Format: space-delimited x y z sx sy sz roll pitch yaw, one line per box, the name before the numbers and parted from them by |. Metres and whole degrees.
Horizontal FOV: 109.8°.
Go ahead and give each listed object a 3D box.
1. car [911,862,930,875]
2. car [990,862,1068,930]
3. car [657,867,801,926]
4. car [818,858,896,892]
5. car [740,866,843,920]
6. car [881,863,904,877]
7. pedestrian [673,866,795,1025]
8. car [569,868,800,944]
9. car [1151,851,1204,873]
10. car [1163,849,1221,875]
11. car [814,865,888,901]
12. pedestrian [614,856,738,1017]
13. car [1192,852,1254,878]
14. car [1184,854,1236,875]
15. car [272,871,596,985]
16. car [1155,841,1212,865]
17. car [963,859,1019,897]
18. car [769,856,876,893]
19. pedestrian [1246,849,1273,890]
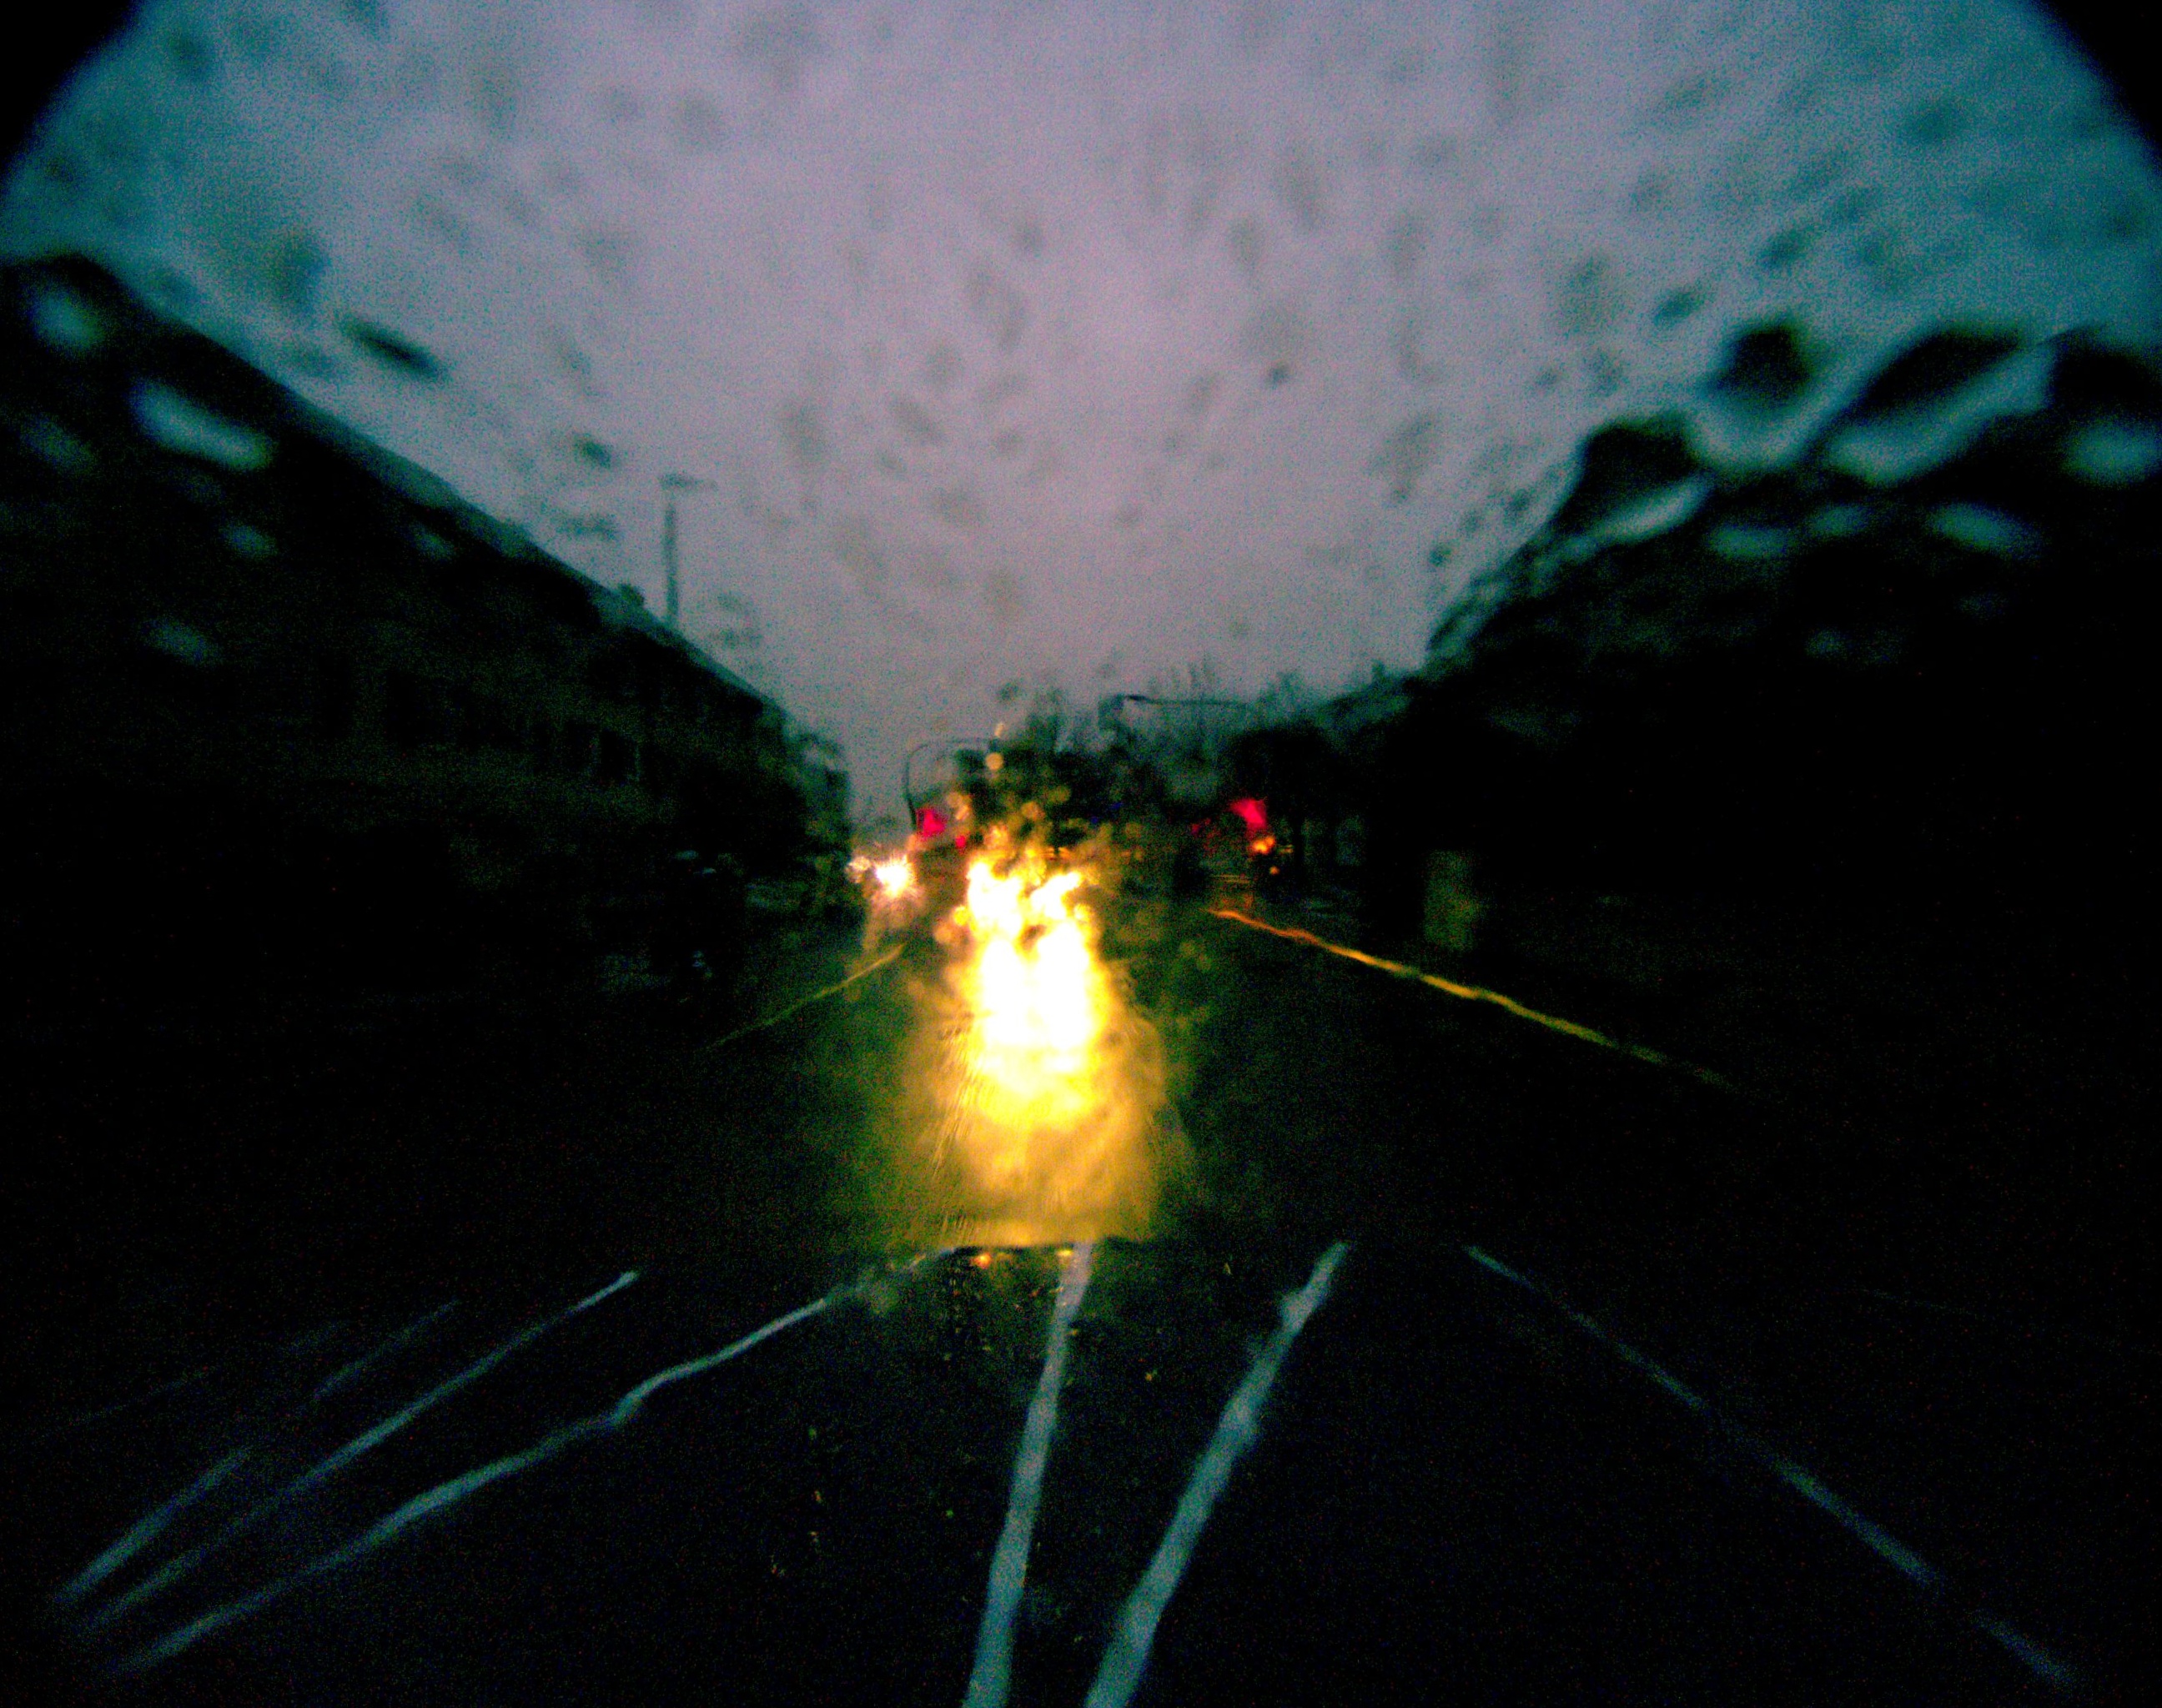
car | -20.755 1.879 98.166 1.902 1.607 3.821 -3 0 -19
car | -1.309 1.006 19.700 1.732 1.475 3.603 -3 0 -3
car | -9.209 1.083 20.047 3.073 1.465 1.549 0 0 -4
car | -12.528 1.163 42.696 4.056 1.832 1.862 0 0 -12
car | -8.657 1.131 22.853 2.591 1.538 1.550 0 -1 -7
car | -21.474 1.824 86.448 1.904 1.457 3.993 -3 0 -21
pedestrian | -3.858 0.977 8.536 0.869 1.657 0.992 1 0 1
car | -8.185 1.038 15.986 3.911 1.465 1.750 0 0 -4
car | 7.690 0.659 60.499 3.992 1.622 1.636 -2 0 16
car | 7.627 0.551 52.282 3.627 1.602 1.612 -3 0 19
car | -9.660 1.204 32.076 2.772 1.465 1.426 0 0 -7
pedestrian | -4.620 0.903 8.742 0.850 1.723 0.972 1 0 1
car | 8.768 0.689 46.992 3.478 1.401 1.612 -3 0 21
car | 8.437 0.660 49.622 3.049 1.212 1.612 -3 0 19
car | -9.126 1.003 10.950 3.225 1.465 1.587 0 0 -4
car | 7.489 -0.067 55.347 3.993 1.622 1.636 -2 0 11
car | -4.270 1.084 35.560 1.926 1.608 3.863 -3 0 -17
car | -13.422 1.068 39.771 4.997 1.877 1.936 0 -1 -7
pedestrian | 7.728 0.650 32.938 0.882 1.724 0.956 -2 0 1
